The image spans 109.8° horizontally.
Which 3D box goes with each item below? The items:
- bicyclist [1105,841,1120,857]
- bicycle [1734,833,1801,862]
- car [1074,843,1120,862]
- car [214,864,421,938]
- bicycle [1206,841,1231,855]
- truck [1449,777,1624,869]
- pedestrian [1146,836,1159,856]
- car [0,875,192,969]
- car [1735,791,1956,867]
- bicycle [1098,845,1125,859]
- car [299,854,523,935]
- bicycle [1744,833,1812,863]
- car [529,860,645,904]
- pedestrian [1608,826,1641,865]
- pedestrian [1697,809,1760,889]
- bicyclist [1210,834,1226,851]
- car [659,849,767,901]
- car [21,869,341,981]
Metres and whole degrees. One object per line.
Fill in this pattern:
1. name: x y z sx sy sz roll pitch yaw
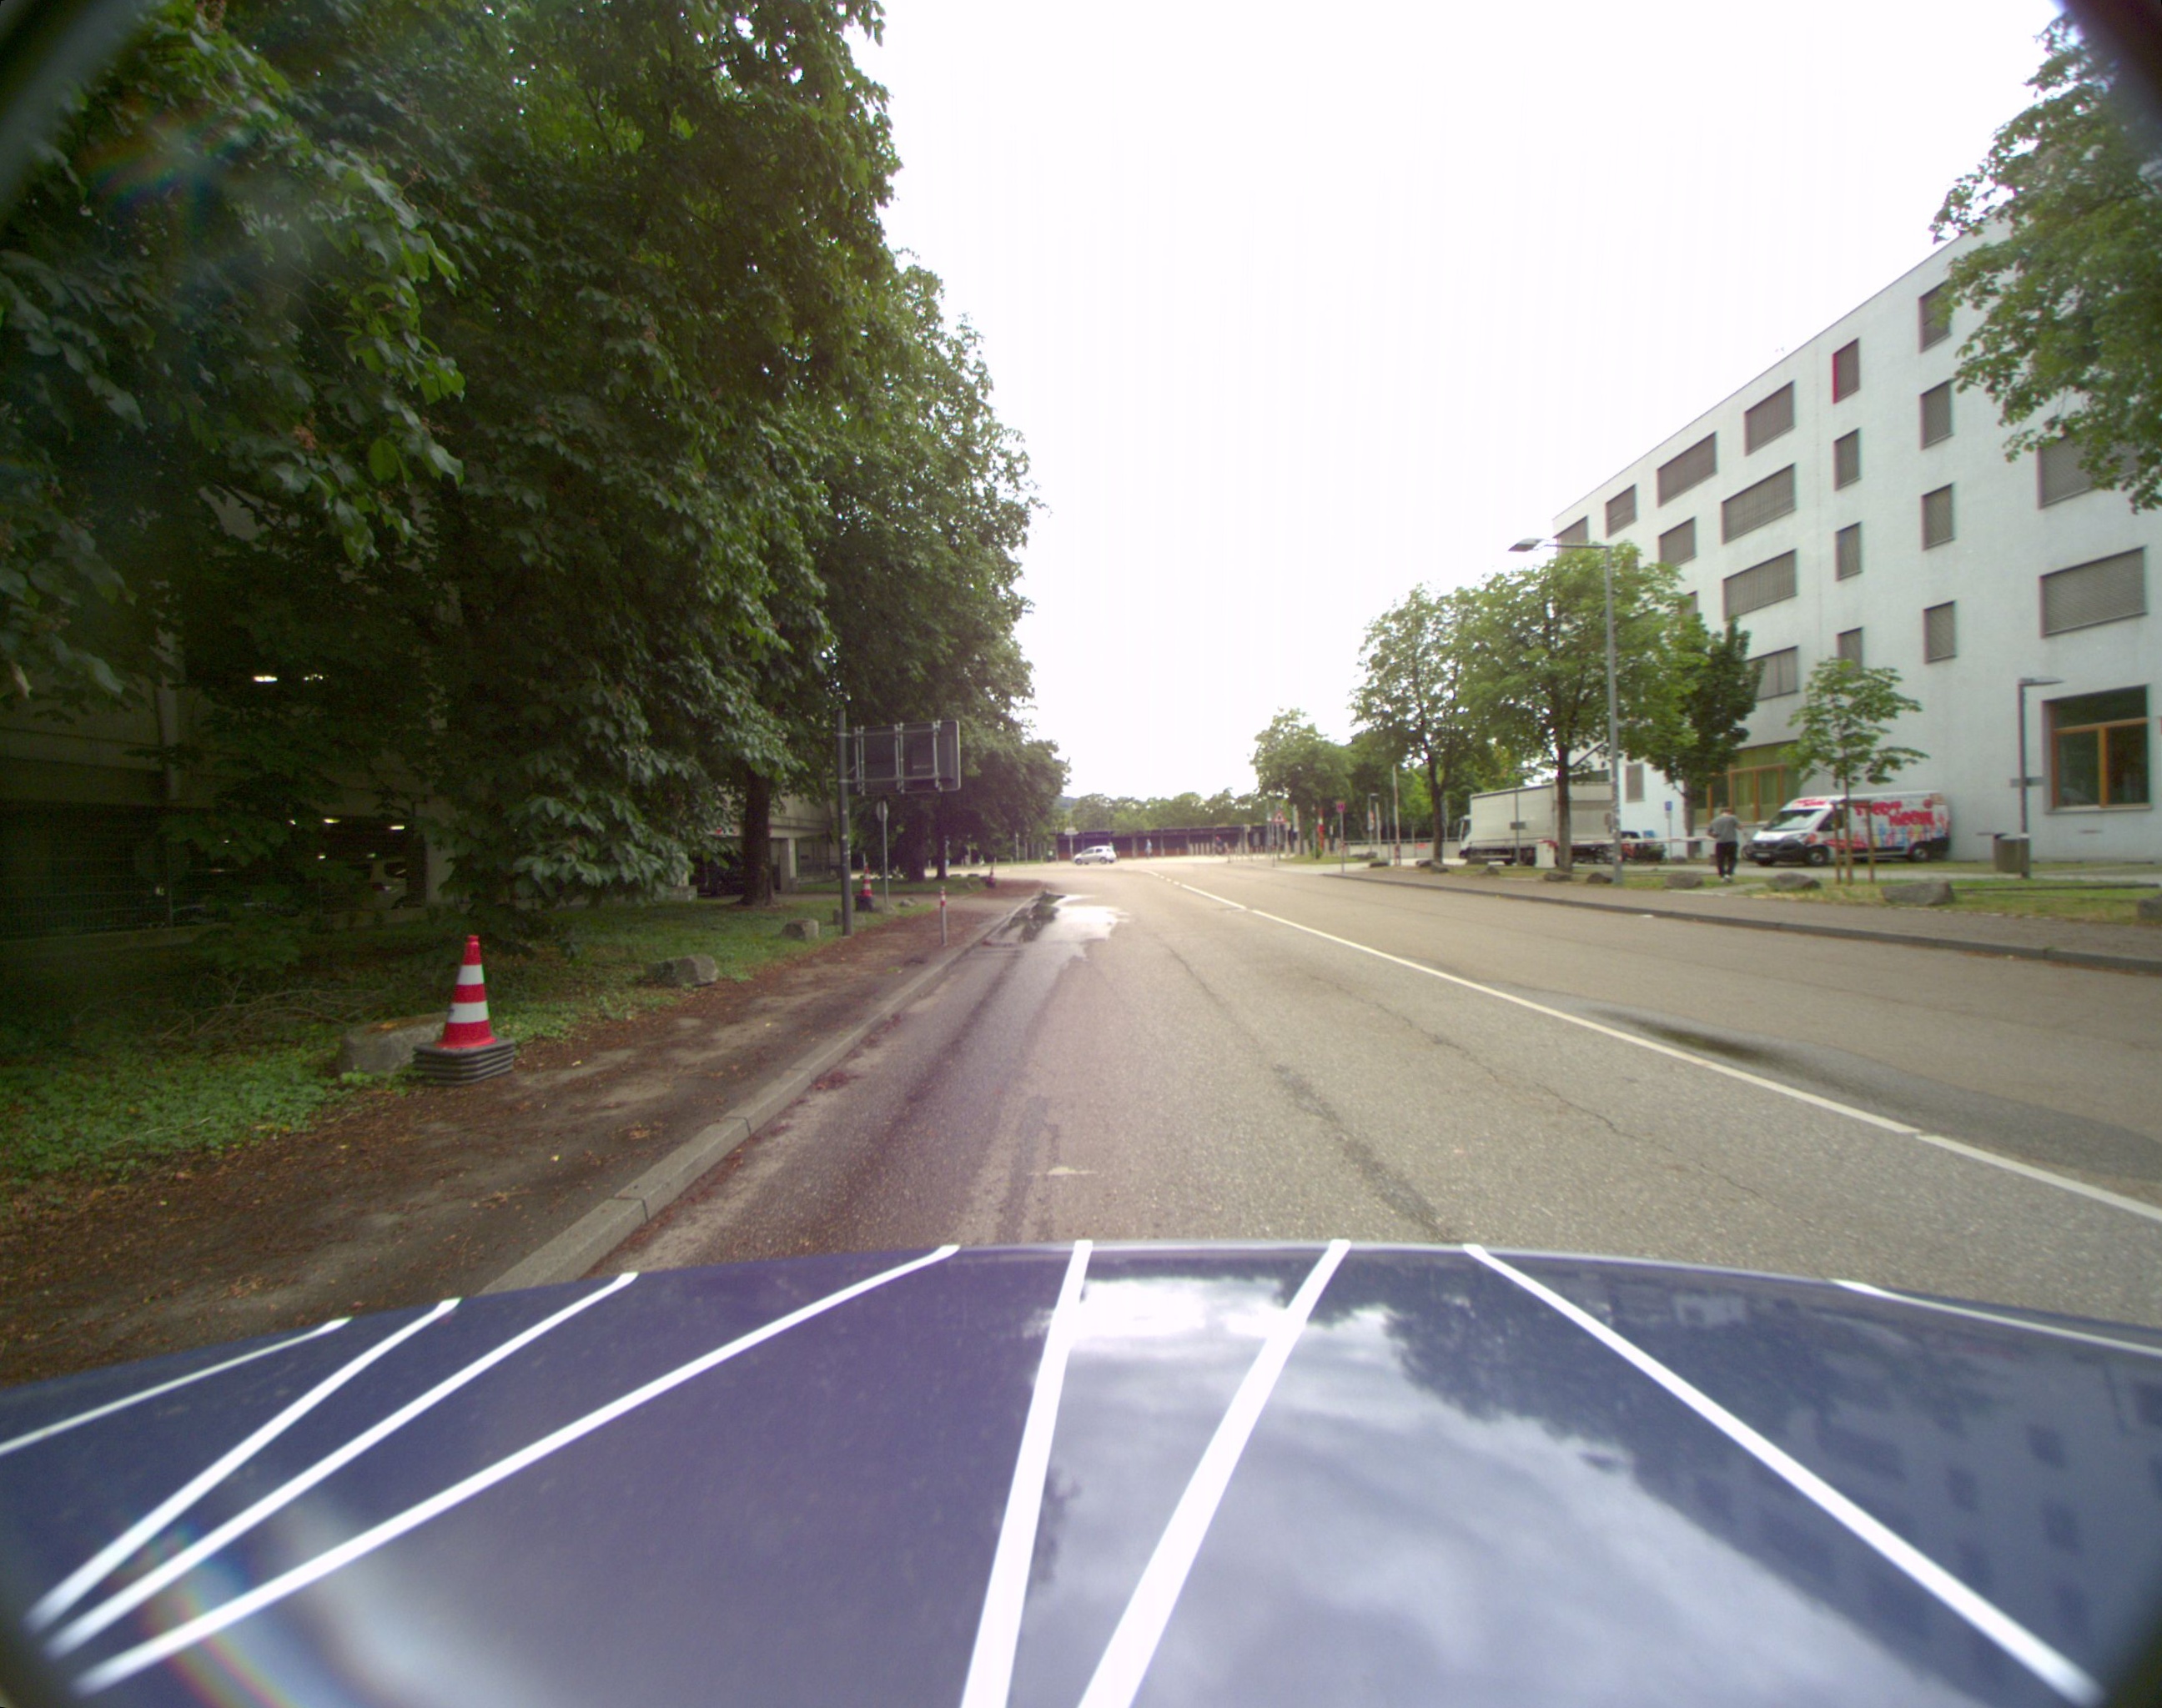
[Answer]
1. bicyclist: 2.820 -0.462 68.416 1.159 1.422 0.742 -3 2 -3
2. bicycle: 27.625 -0.257 30.589 2.029 1.064 0.613 -3 2 4
3. car: 1.342 -0.131 64.876 3.494 1.448 1.609 -2 2 29
4. car: -20.261 1.175 20.421 1.721 1.577 3.690 -3 2 -1
5. bicycle: 12.498 -0.586 69.019 2.051 1.137 0.777 -3 3 -7
6. truck: 20.407 -1.338 34.822 2.684 3.580 8.361 -3 2 -2
7. pedestrian: 6.842 -0.755 72.611 1.200 1.824 0.927 -3 3 4
8. car: -20.369 1.326 14.776 1.721 1.537 3.700 -3 2 -1
9. car: 26.609 -0.864 26.590 5.640 2.266 2.078 -3 2 0
10. bicycle: 2.738 -0.169 68.425 2.257 1.117 0.748 -3 2 -3
11. car: -17.245 0.939 19.960 1.589 1.699 4.666 -3 2 1
12. bicycle: 27.445 -0.230 29.941 2.029 1.064 0.613 -3 2 4
13. car: -20.003 1.081 30.994 1.876 1.445 4.000 -3 2 4
14. pedestrian: 23.300 -0.366 32.590 0.679 1.597 0.887 -3 2 -7
15. pedestrian: 14.094 -0.119 16.551 0.847 1.662 0.785 -4 2 -30
16. bicyclist: 12.447 -1.053 68.998 1.101 1.487 0.927 -3 3 -5
17. car: -14.651 0.766 30.580 1.924 1.824 4.735 -3 1 0
18. car: -17.471 1.270 15.093 1.589 1.699 3.856 -3 2 1
